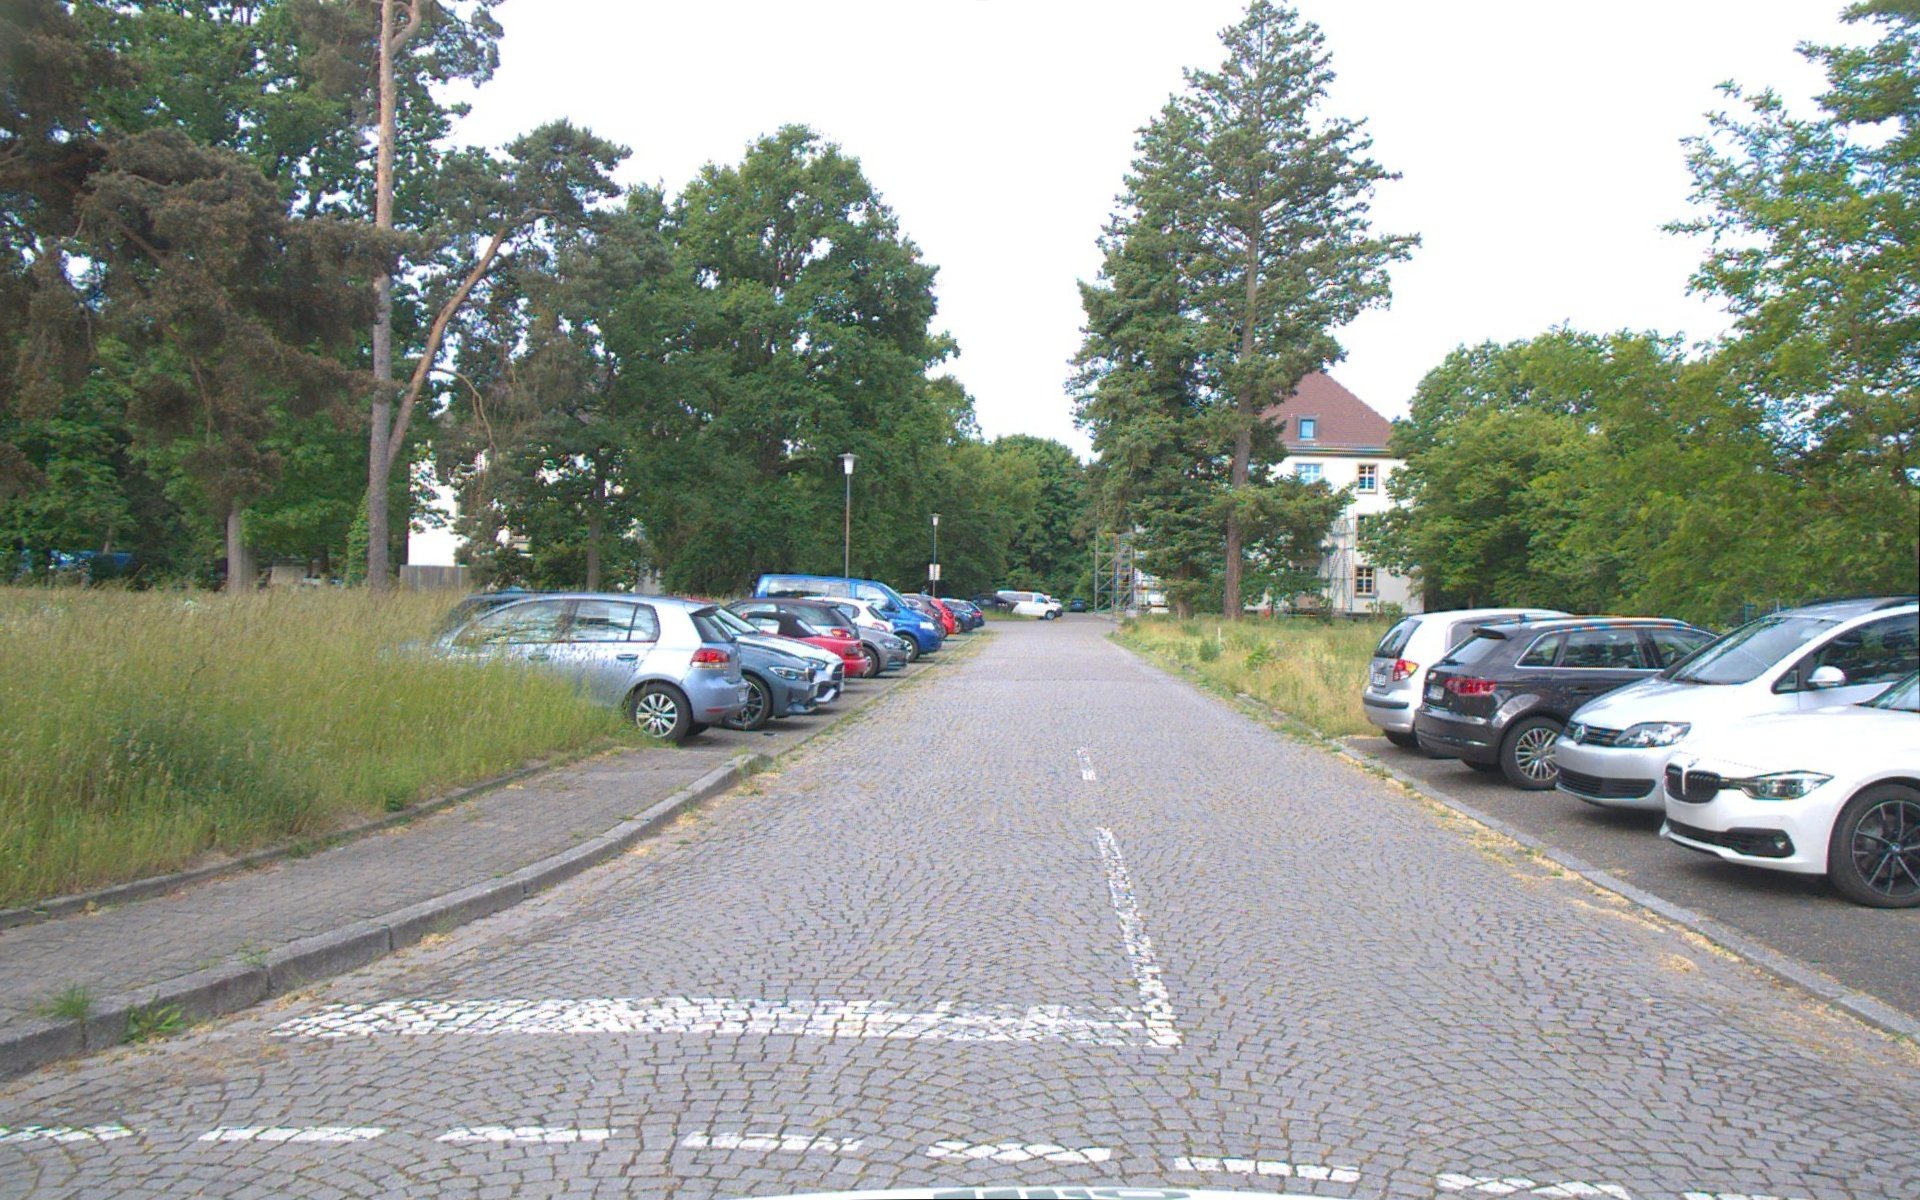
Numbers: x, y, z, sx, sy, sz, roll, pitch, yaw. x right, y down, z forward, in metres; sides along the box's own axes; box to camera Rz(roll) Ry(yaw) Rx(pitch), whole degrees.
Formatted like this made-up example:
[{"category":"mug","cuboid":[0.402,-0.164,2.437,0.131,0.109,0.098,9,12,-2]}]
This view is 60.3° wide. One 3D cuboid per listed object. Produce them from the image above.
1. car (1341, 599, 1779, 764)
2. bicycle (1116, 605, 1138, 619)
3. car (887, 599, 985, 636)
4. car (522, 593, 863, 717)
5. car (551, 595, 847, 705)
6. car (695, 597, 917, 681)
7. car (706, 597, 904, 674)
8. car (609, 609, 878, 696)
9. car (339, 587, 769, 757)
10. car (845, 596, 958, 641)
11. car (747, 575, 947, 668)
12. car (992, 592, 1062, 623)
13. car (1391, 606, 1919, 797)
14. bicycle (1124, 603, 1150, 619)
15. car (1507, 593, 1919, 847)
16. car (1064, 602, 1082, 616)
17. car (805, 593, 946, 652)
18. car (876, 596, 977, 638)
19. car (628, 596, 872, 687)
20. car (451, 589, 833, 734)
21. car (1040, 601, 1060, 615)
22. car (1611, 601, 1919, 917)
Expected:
[{"category":"car","cuboid":[6.276,0.824,17.628,3.990,1.541,1.804,-2,0,0]},{"category":"bicycle","cuboid":[16.357,1.163,162.007,2.193,1.276,0.634,1,0,5]},{"category":"car","cuboid":[-1.065,0.763,75.081,4.212,1.486,1.976,2,0,4]},{"category":"car","cuboid":[-3.543,0.710,22.510,4.284,1.534,1.936,1,0,0]},{"category":"car","cuboid":[-3.842,0.715,24.823,4.079,1.502,1.865,1,0,2]},{"category":"car","cuboid":[-2.982,0.738,32.679,4.078,1.517,1.865,1,0,4]},{"category":"car","cuboid":[-3.286,0.748,35.610,3.982,1.523,1.846,1,0,3]},{"category":"car","cuboid":[-3.498,0.834,27.184,4.078,1.289,1.832,1,0,4]},{"category":"car","cuboid":[-4.067,0.695,17.051,3.904,1.570,1.906,1,0,1]},{"category":"car","cuboid":[-2.079,0.658,60.136,3.971,1.552,1.905,1,0,1]},{"category":"car","cuboid":[-2.738,0.511,40.887,4.682,2.159,2.116,1,0,2]},{"category":"car","cuboid":[4.967,0.567,123.699,5.127,2.206,2.000,1,0,0]},{"category":"car","cuboid":[6.142,0.861,14.920,3.990,1.478,1.885,-2,0,0]},{"category":"bicycle","cuboid":[15.011,0.929,140.486,2.193,1.276,0.778,1,0,5]},{"category":"car","cuboid":[6.439,0.792,12.187,4.153,1.624,1.885,-2,0,-1]},{"category":"car","cuboid":[12.946,0.978,189.722,1.911,1.548,4.000,1,0,1]},{"category":"car","cuboid":[-2.505,0.670,49.769,4.080,1.650,1.987,1,0,0]},{"category":"car","cuboid":[-1.390,0.708,70.388,4.141,1.604,1.887,2,0,1]},{"category":"car","cuboid":[-3.731,0.718,29.854,4.079,1.508,1.846,1,0,3]},{"category":"car","cuboid":[-3.684,0.699,19.768,4.163,1.575,1.935,1,0,-1]},{"category":"car","cuboid":[10.313,0.936,189.544,2.075,1.548,4.001,1,0,2]},{"category":"car","cuboid":[6.381,0.797,9.634,4.400,1.593,1.905,-2,0,0]}]
